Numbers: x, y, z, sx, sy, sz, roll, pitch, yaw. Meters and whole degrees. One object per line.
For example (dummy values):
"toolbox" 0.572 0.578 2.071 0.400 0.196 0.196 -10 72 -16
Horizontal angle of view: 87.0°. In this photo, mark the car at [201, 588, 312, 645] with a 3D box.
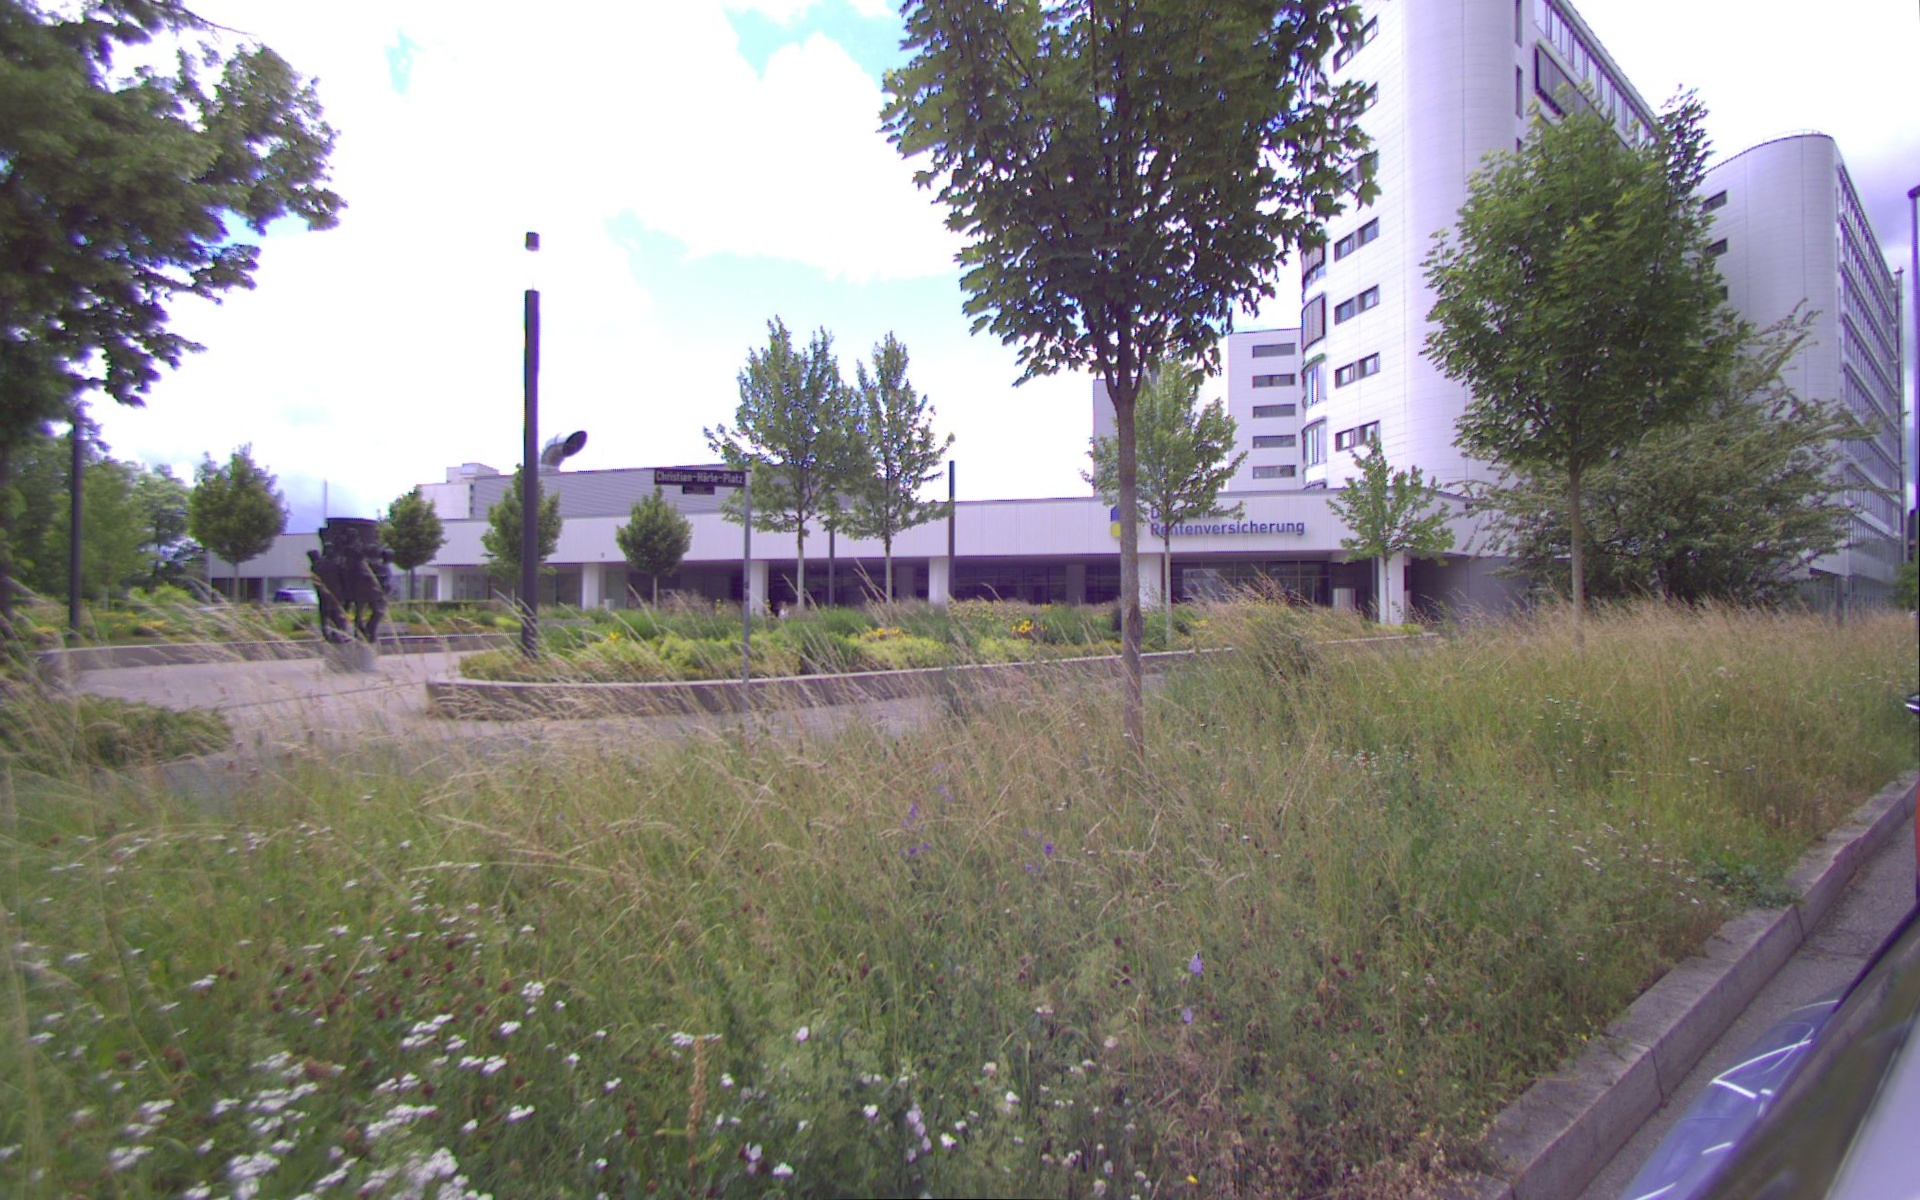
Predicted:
"car" -23.367 0.515 33.609 3.470 1.788 1.622 0 0 27

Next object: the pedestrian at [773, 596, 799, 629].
"pedestrian" -6.858 0.486 39.864 0.869 1.290 0.704 1 0 2

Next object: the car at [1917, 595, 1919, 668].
"car" 22.622 0.703 22.469 3.386 1.594 1.736 0 0 -42

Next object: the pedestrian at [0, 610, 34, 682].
"pedestrian" -17.453 0.836 18.666 0.560 1.278 0.581 0 0 -43
